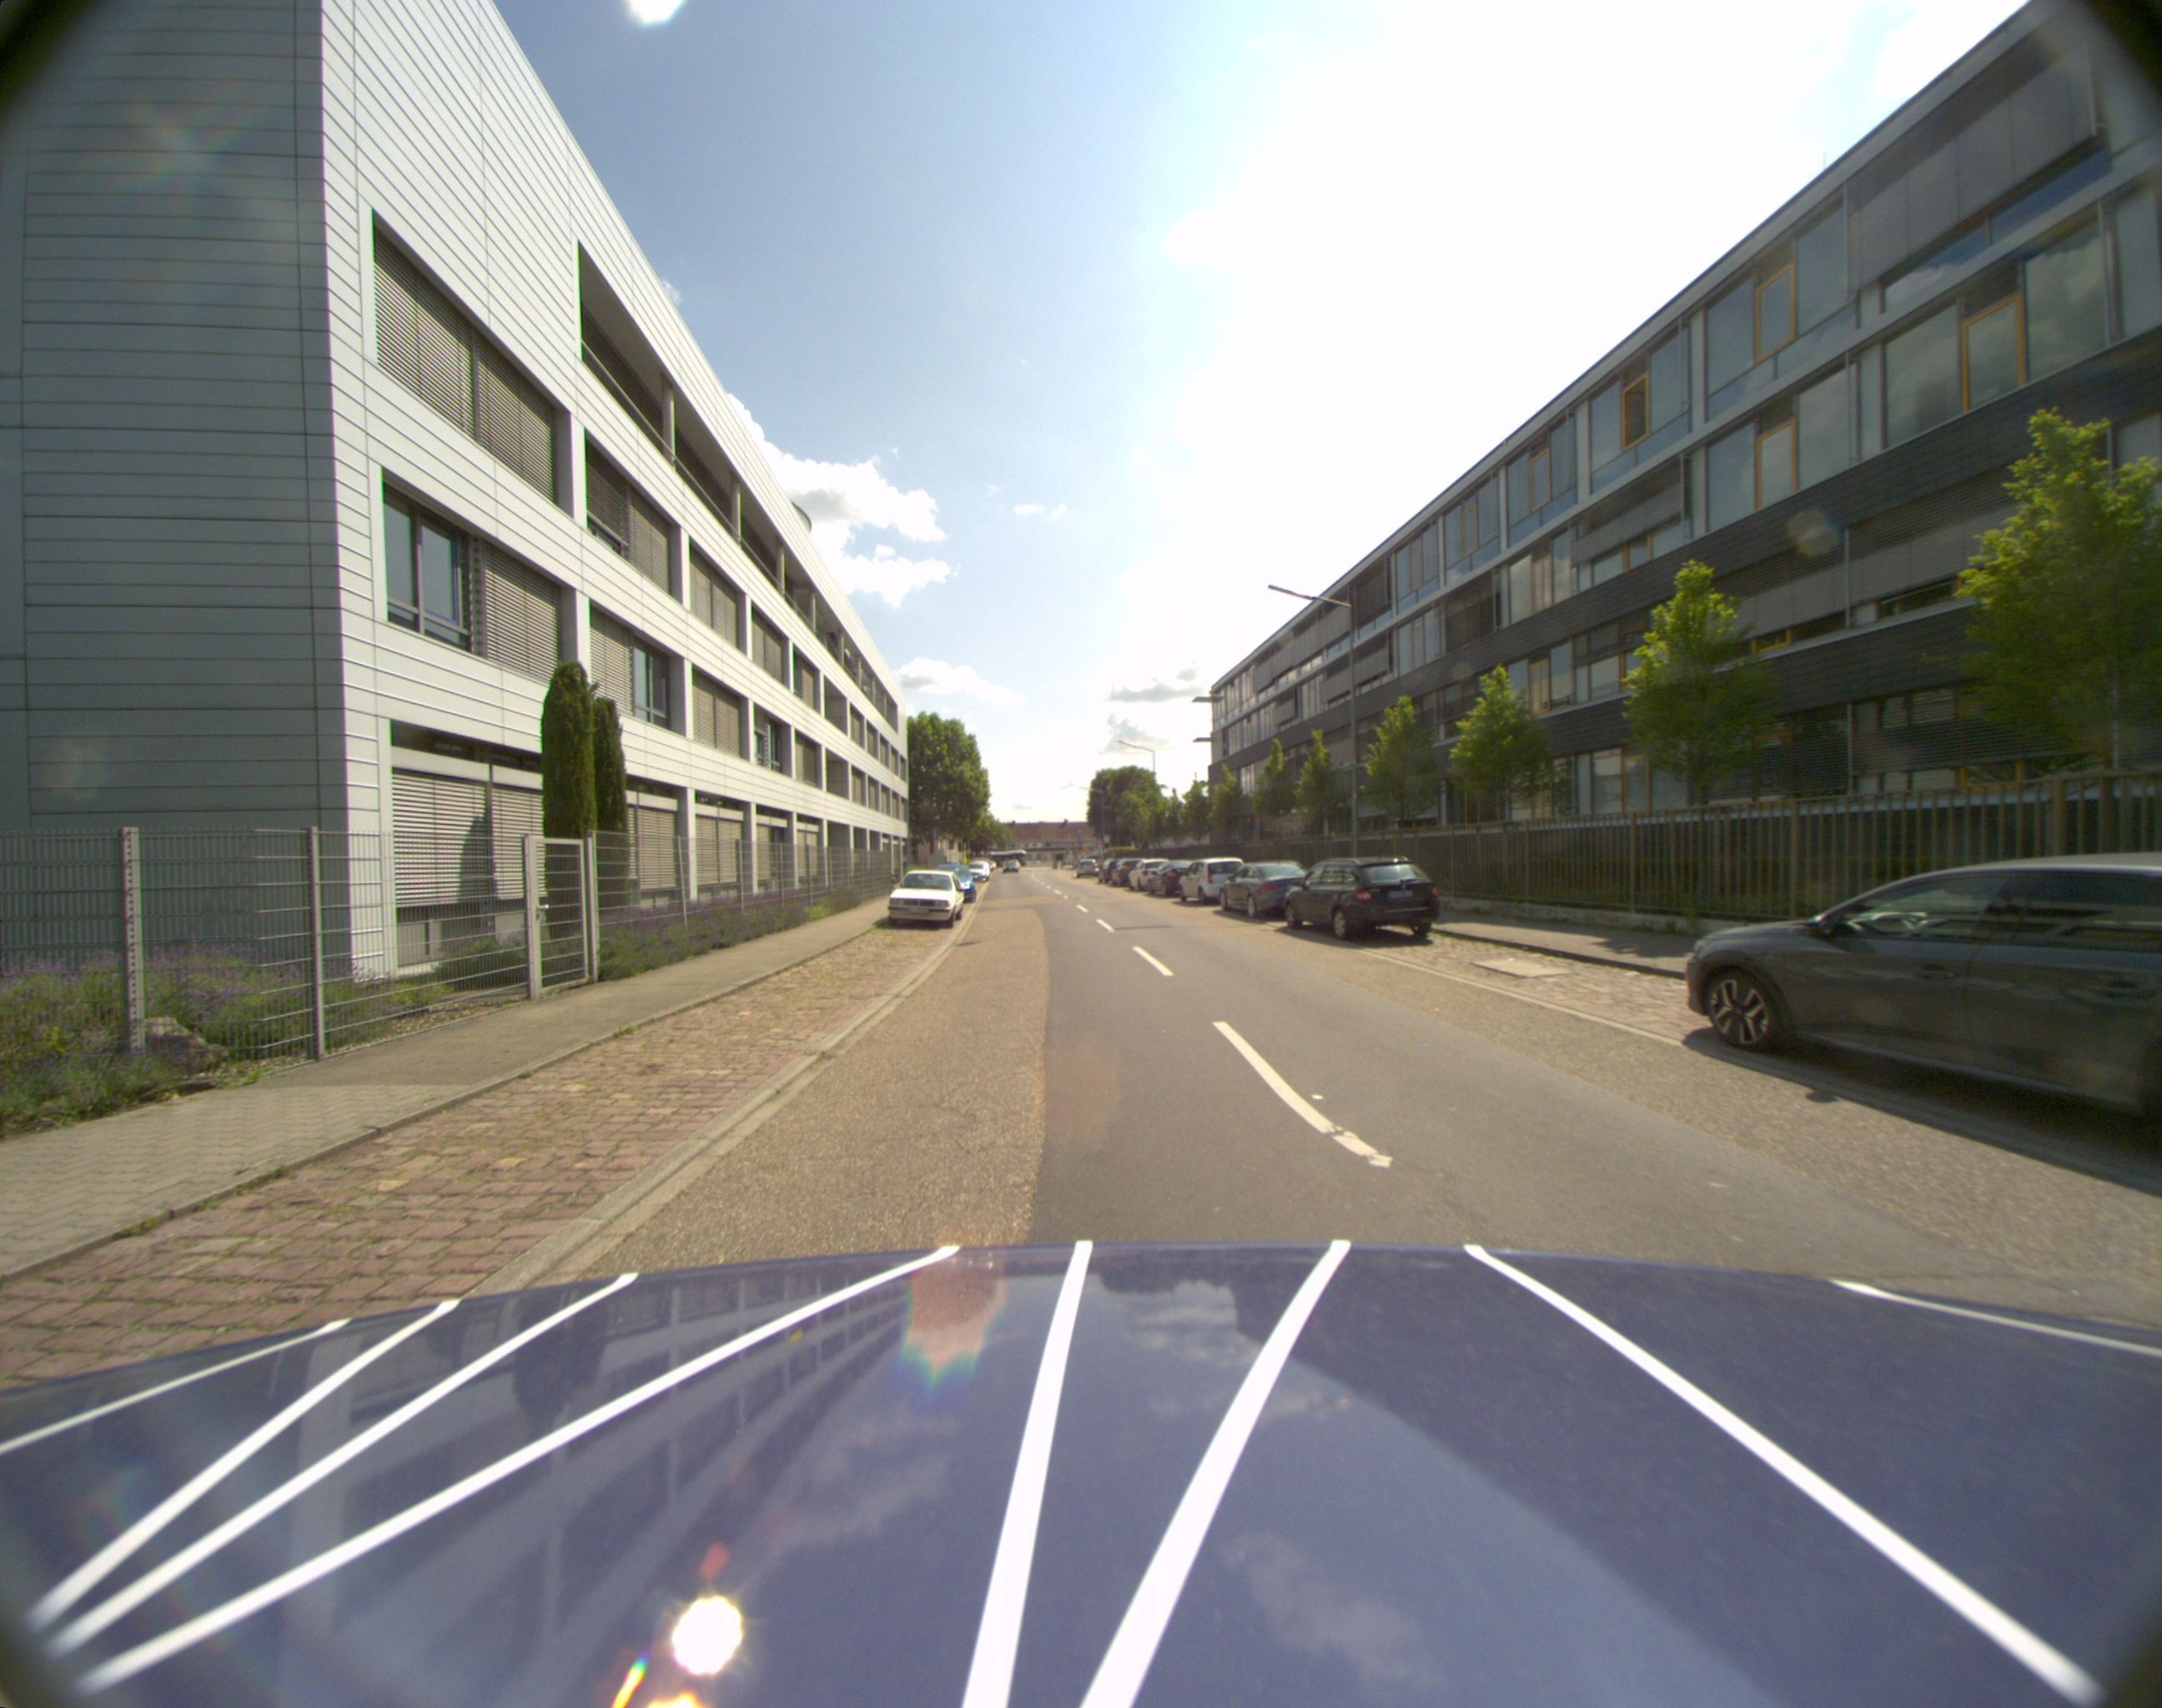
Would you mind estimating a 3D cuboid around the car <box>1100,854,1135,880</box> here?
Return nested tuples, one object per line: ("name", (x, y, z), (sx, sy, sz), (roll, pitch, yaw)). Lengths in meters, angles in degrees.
("car", (2.203, 0.767, 46.690), (1.568, 1.506, 4.033), (-1, 0, -6))

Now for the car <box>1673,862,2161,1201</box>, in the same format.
("car", (5.809, 0.839, 4.291), (1.738, 1.437, 3.930), (-3, 0, -2))

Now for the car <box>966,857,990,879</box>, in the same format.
("car", (-7.690, 1.039, 57.098), (1.661, 1.506, 3.741), (1, 0, -6))

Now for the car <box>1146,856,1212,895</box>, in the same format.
("car", (3.874, 0.818, 30.742), (1.671, 1.396, 3.997), (-2, 0, -7))

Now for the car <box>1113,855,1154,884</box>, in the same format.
("car", (2.808, 0.803, 41.533), (1.568, 1.506, 3.741), (-1, 0, -6))

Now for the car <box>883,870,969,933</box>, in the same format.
("car", (-3.999, 1.173, 20.176), (1.677, 1.360, 4.157), (2, 0, -4))

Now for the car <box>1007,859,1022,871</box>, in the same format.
("car", (-7.755, 1.298, 88.631), (1.661, 1.279, 3.741), (1, 0, -6))

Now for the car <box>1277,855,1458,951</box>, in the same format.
("car", (5.356, 0.840, 14.806), (1.666, 1.521, 3.998), (-3, 0, -5))

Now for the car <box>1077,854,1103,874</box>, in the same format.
("car", (0.718, 0.870, 63.281), (1.678, 1.506, 3.742), (-1, -2, -6))

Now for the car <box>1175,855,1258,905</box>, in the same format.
("car", (4.452, 0.822, 25.538), (1.667, 1.473, 3.514), (-3, 0, -8))

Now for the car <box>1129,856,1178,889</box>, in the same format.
("car", (3.344, 0.821, 35.702), (1.568, 1.446, 3.741), (-1, 0, -6))

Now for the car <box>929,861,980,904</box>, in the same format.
("car", (-4.994, 1.084, 30.161), (1.815, 1.496, 3.997), (2, -1, -9))

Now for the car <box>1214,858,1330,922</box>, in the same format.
("car", (4.917, 0.864, 20.116), (1.666, 1.389, 4.103), (-3, 1, -5))
